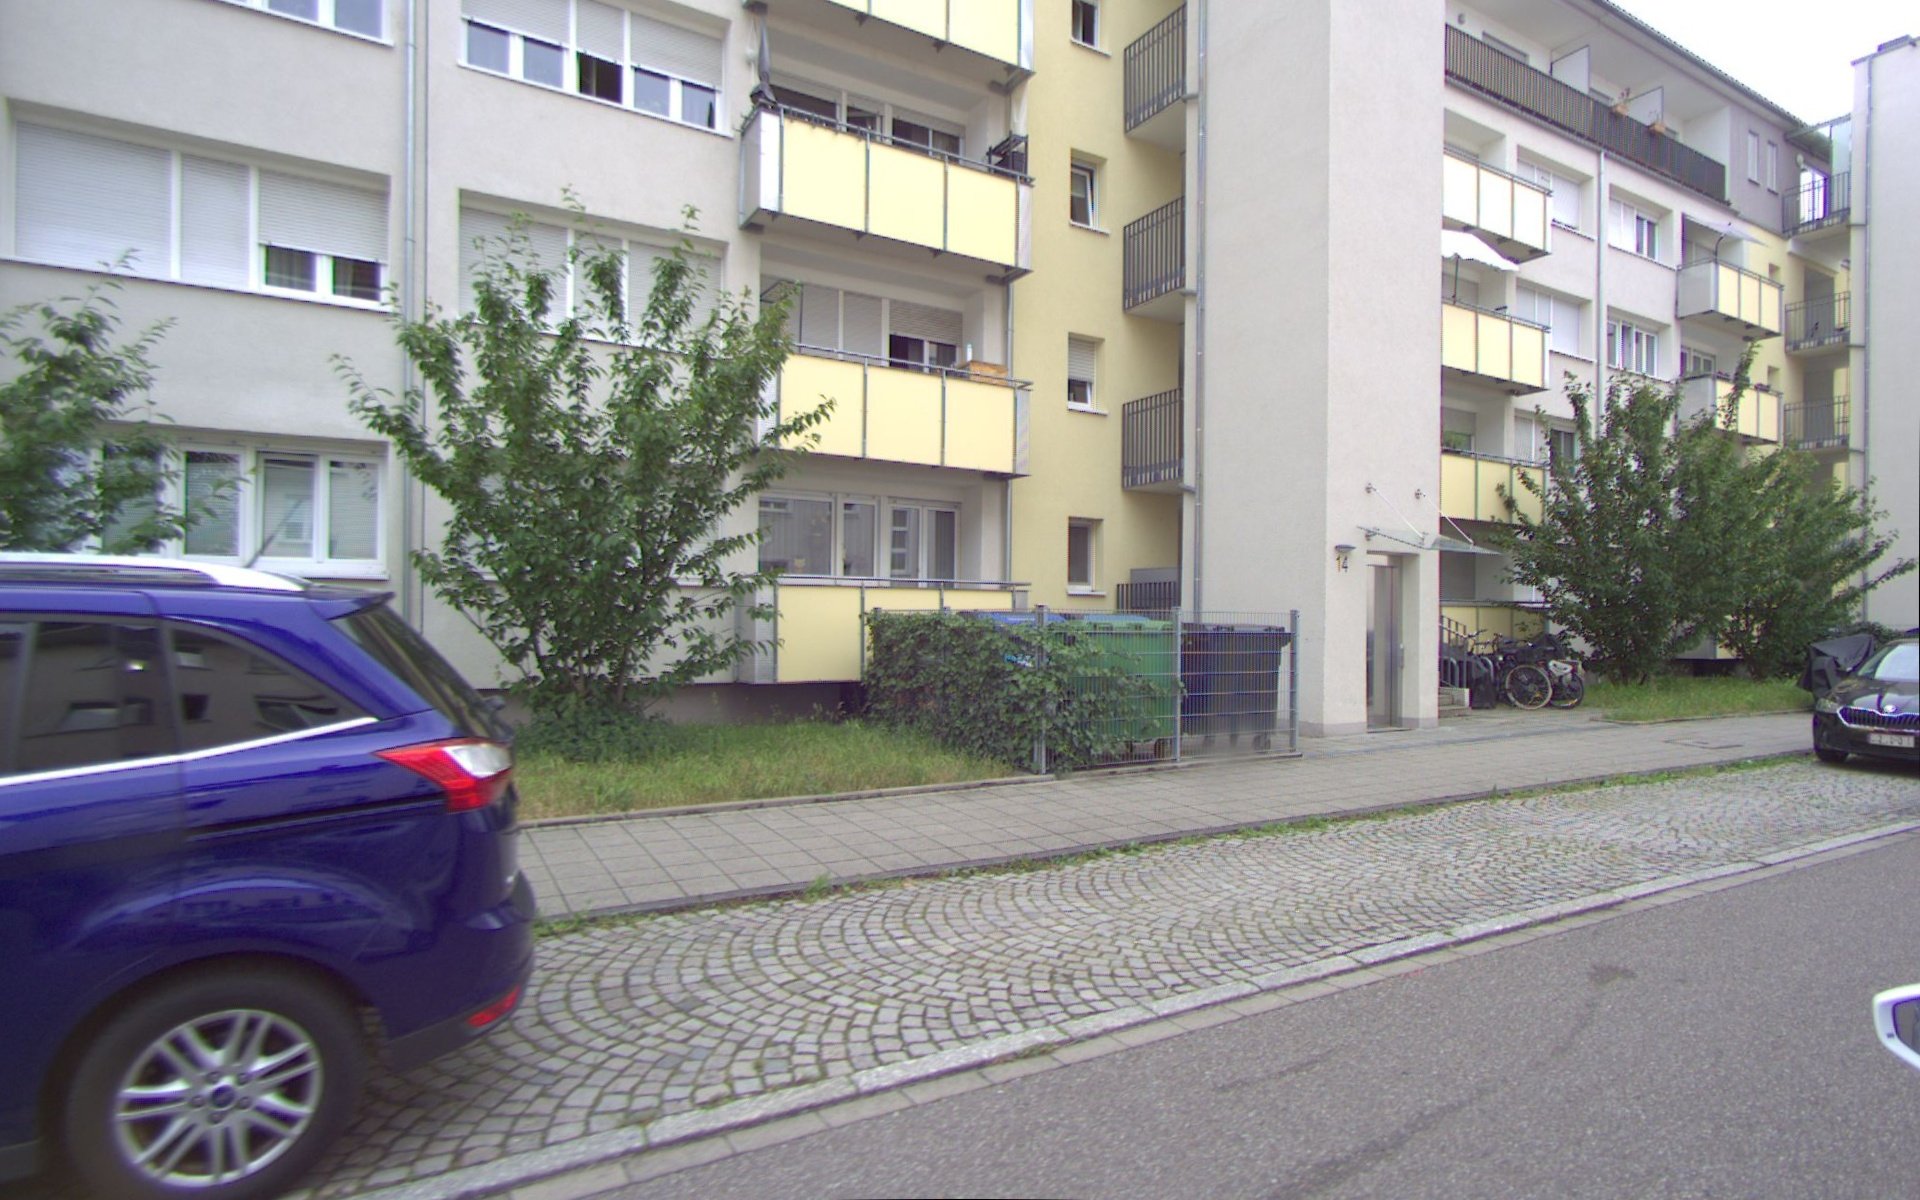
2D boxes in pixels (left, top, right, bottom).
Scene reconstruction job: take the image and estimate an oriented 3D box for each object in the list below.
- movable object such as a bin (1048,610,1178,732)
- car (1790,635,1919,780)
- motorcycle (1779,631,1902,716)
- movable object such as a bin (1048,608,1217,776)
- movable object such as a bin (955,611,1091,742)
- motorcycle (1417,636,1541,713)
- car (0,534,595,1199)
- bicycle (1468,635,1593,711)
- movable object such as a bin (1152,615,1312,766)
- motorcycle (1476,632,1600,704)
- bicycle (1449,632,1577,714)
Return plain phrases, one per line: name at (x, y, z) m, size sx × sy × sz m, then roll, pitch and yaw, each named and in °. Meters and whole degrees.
movable object such as a bin at (1.941, 0.871, 12.829) m, size 1.299 × 1.466 × 0.997 m, roll 1°, pitch 0°, yaw -30°
car at (11.547, 1.183, 11.748) m, size 3.811 × 1.458 × 1.635 m, roll 1°, pitch 1°, yaw -31°
motorcycle at (15.043, 1.213, 17.149) m, size 2.391 × 1.324 × 0.865 m, roll 1°, pitch 0°, yaw -30°
movable object such as a bin at (1.686, 0.847, 9.884) m, size 1.299 × 1.520 × 0.997 m, roll 1°, pitch 0°, yaw -30°
movable object such as a bin at (0.748, 0.882, 12.075) m, size 1.299 × 1.466 × 0.997 m, roll 1°, pitch 0°, yaw -30°
motorcycle at (8.149, 1.136, 15.835) m, size 0.683 × 1.144 × 1.606 m, roll 1°, pitch -2°, yaw -33°
car at (-3.446, 0.654, 2.664) m, size 4.420 × 1.648 × 1.791 m, roll 1°, pitch 0°, yaw -31°
bicycle at (9.337, 1.171, 16.499) m, size 0.602 × 1.157 × 1.712 m, roll 1°, pitch -1°, yaw -34°
movable object such as a bin at (2.850, 0.900, 10.551) m, size 1.299 × 1.466 × 0.997 m, roll 1°, pitch 0°, yaw -30°
motorcycle at (9.756, 1.125, 17.020) m, size 0.587 × 1.144 × 1.738 m, roll 1°, pitch -2°, yaw -34°
bicycle at (8.832, 1.131, 16.118) m, size 0.602 × 1.241 × 1.712 m, roll 1°, pitch -2°, yaw -34°
